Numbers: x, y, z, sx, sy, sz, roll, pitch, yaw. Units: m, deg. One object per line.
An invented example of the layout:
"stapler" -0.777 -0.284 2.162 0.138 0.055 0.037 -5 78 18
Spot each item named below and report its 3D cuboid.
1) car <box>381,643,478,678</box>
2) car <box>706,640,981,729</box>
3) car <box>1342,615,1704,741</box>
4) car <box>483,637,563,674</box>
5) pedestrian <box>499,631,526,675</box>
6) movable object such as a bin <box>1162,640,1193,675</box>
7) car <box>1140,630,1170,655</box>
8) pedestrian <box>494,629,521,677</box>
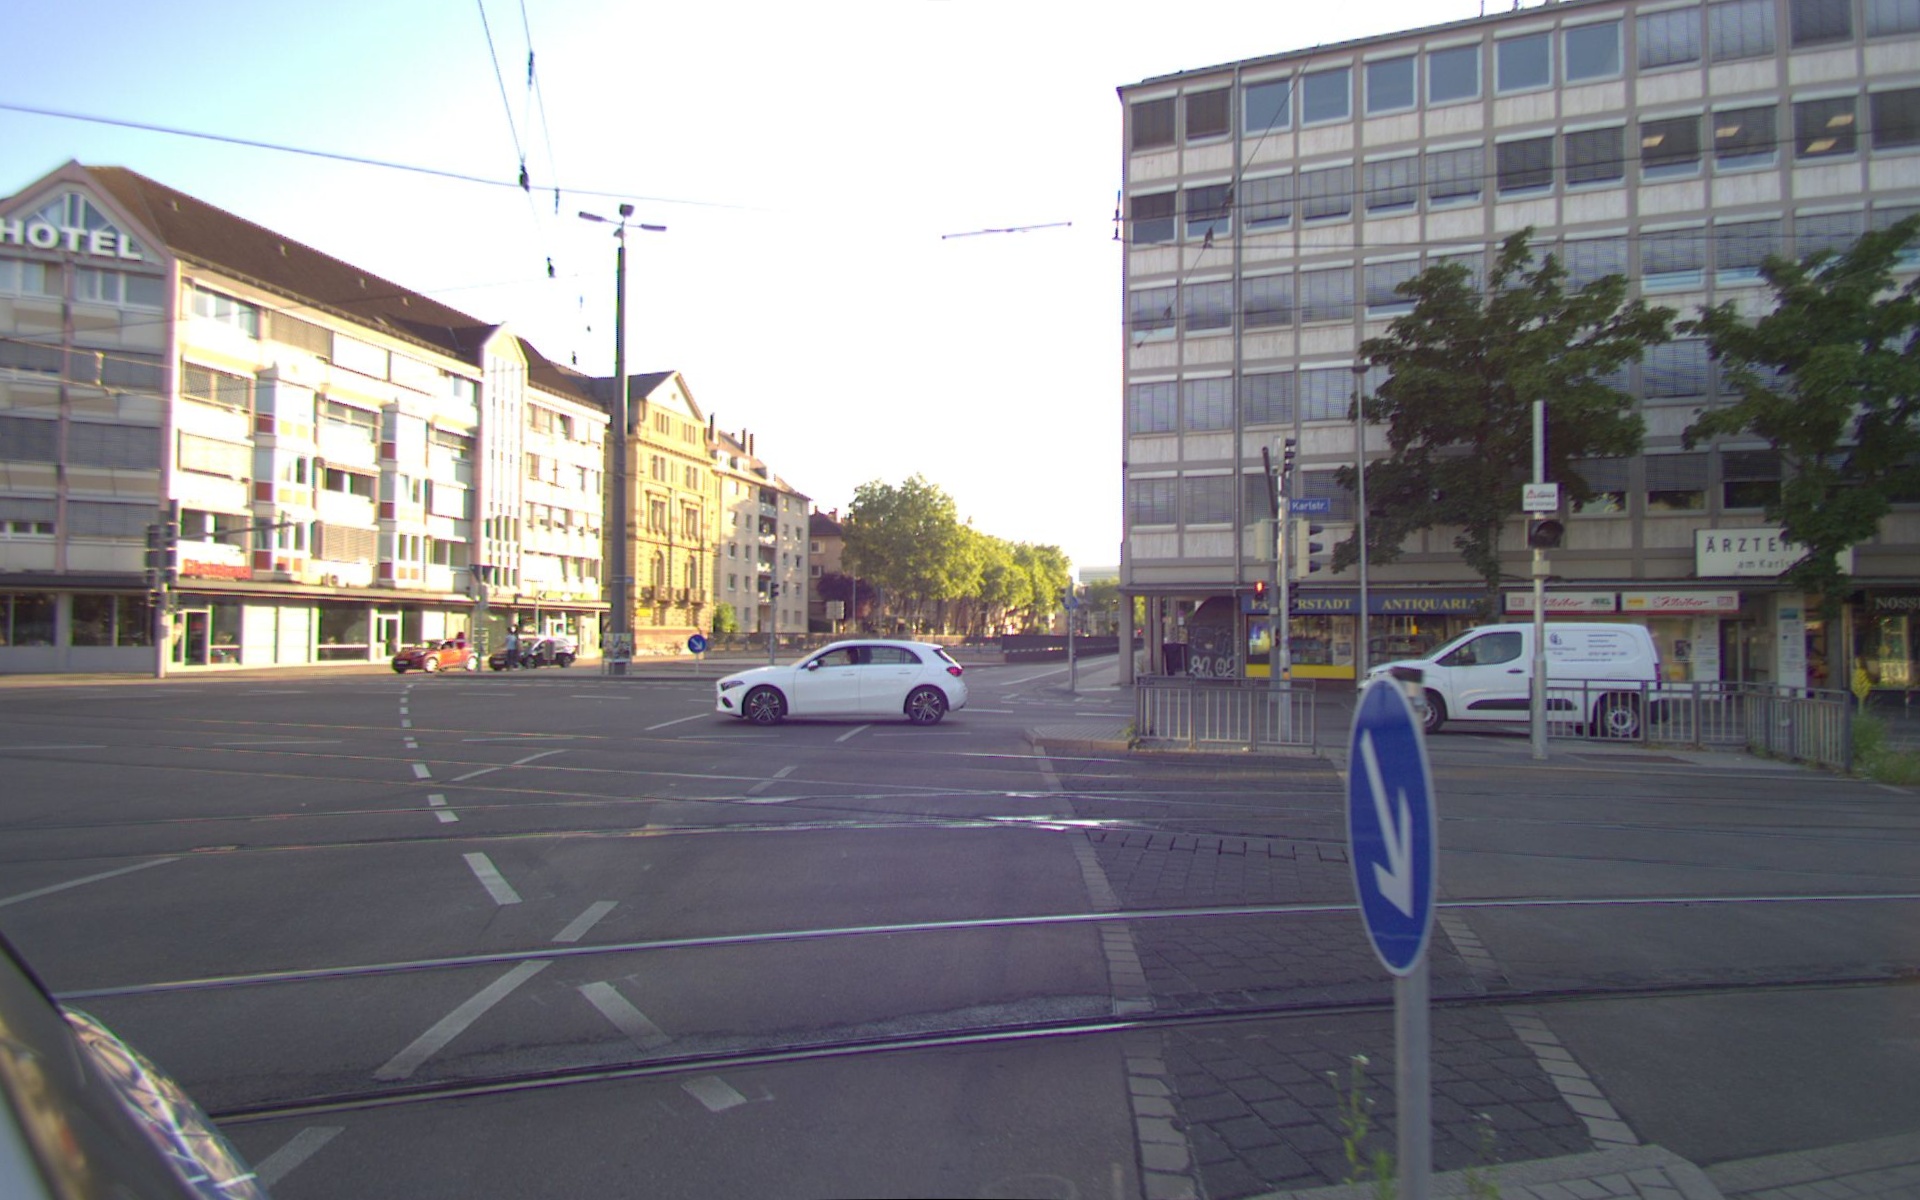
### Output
"car" -23.162 2.622 44.308 1.633 1.433 3.880 -1 -2 13
"car" -1.974 1.440 17.605 4.494 1.460 1.818 0 -3 -4
"car" 8.921 1.199 16.598 4.836 1.852 1.988 -1 -2 19
"car" -19.376 2.426 45.059 2.187 1.567 4.621 0 -2 -9
"pedestrian" -16.379 1.921 37.037 0.694 1.595 0.828 2 -3 -36
"movable object such as a bin" 8.546 2.251 39.779 0.954 1.337 1.404 -1 -2 22
"car" 16.675 3.610 86.491 1.984 2.029 4.235 -1 -2 19
"pedestrian" -16.150 1.886 36.108 0.715 1.662 0.773 2 -3 -36
